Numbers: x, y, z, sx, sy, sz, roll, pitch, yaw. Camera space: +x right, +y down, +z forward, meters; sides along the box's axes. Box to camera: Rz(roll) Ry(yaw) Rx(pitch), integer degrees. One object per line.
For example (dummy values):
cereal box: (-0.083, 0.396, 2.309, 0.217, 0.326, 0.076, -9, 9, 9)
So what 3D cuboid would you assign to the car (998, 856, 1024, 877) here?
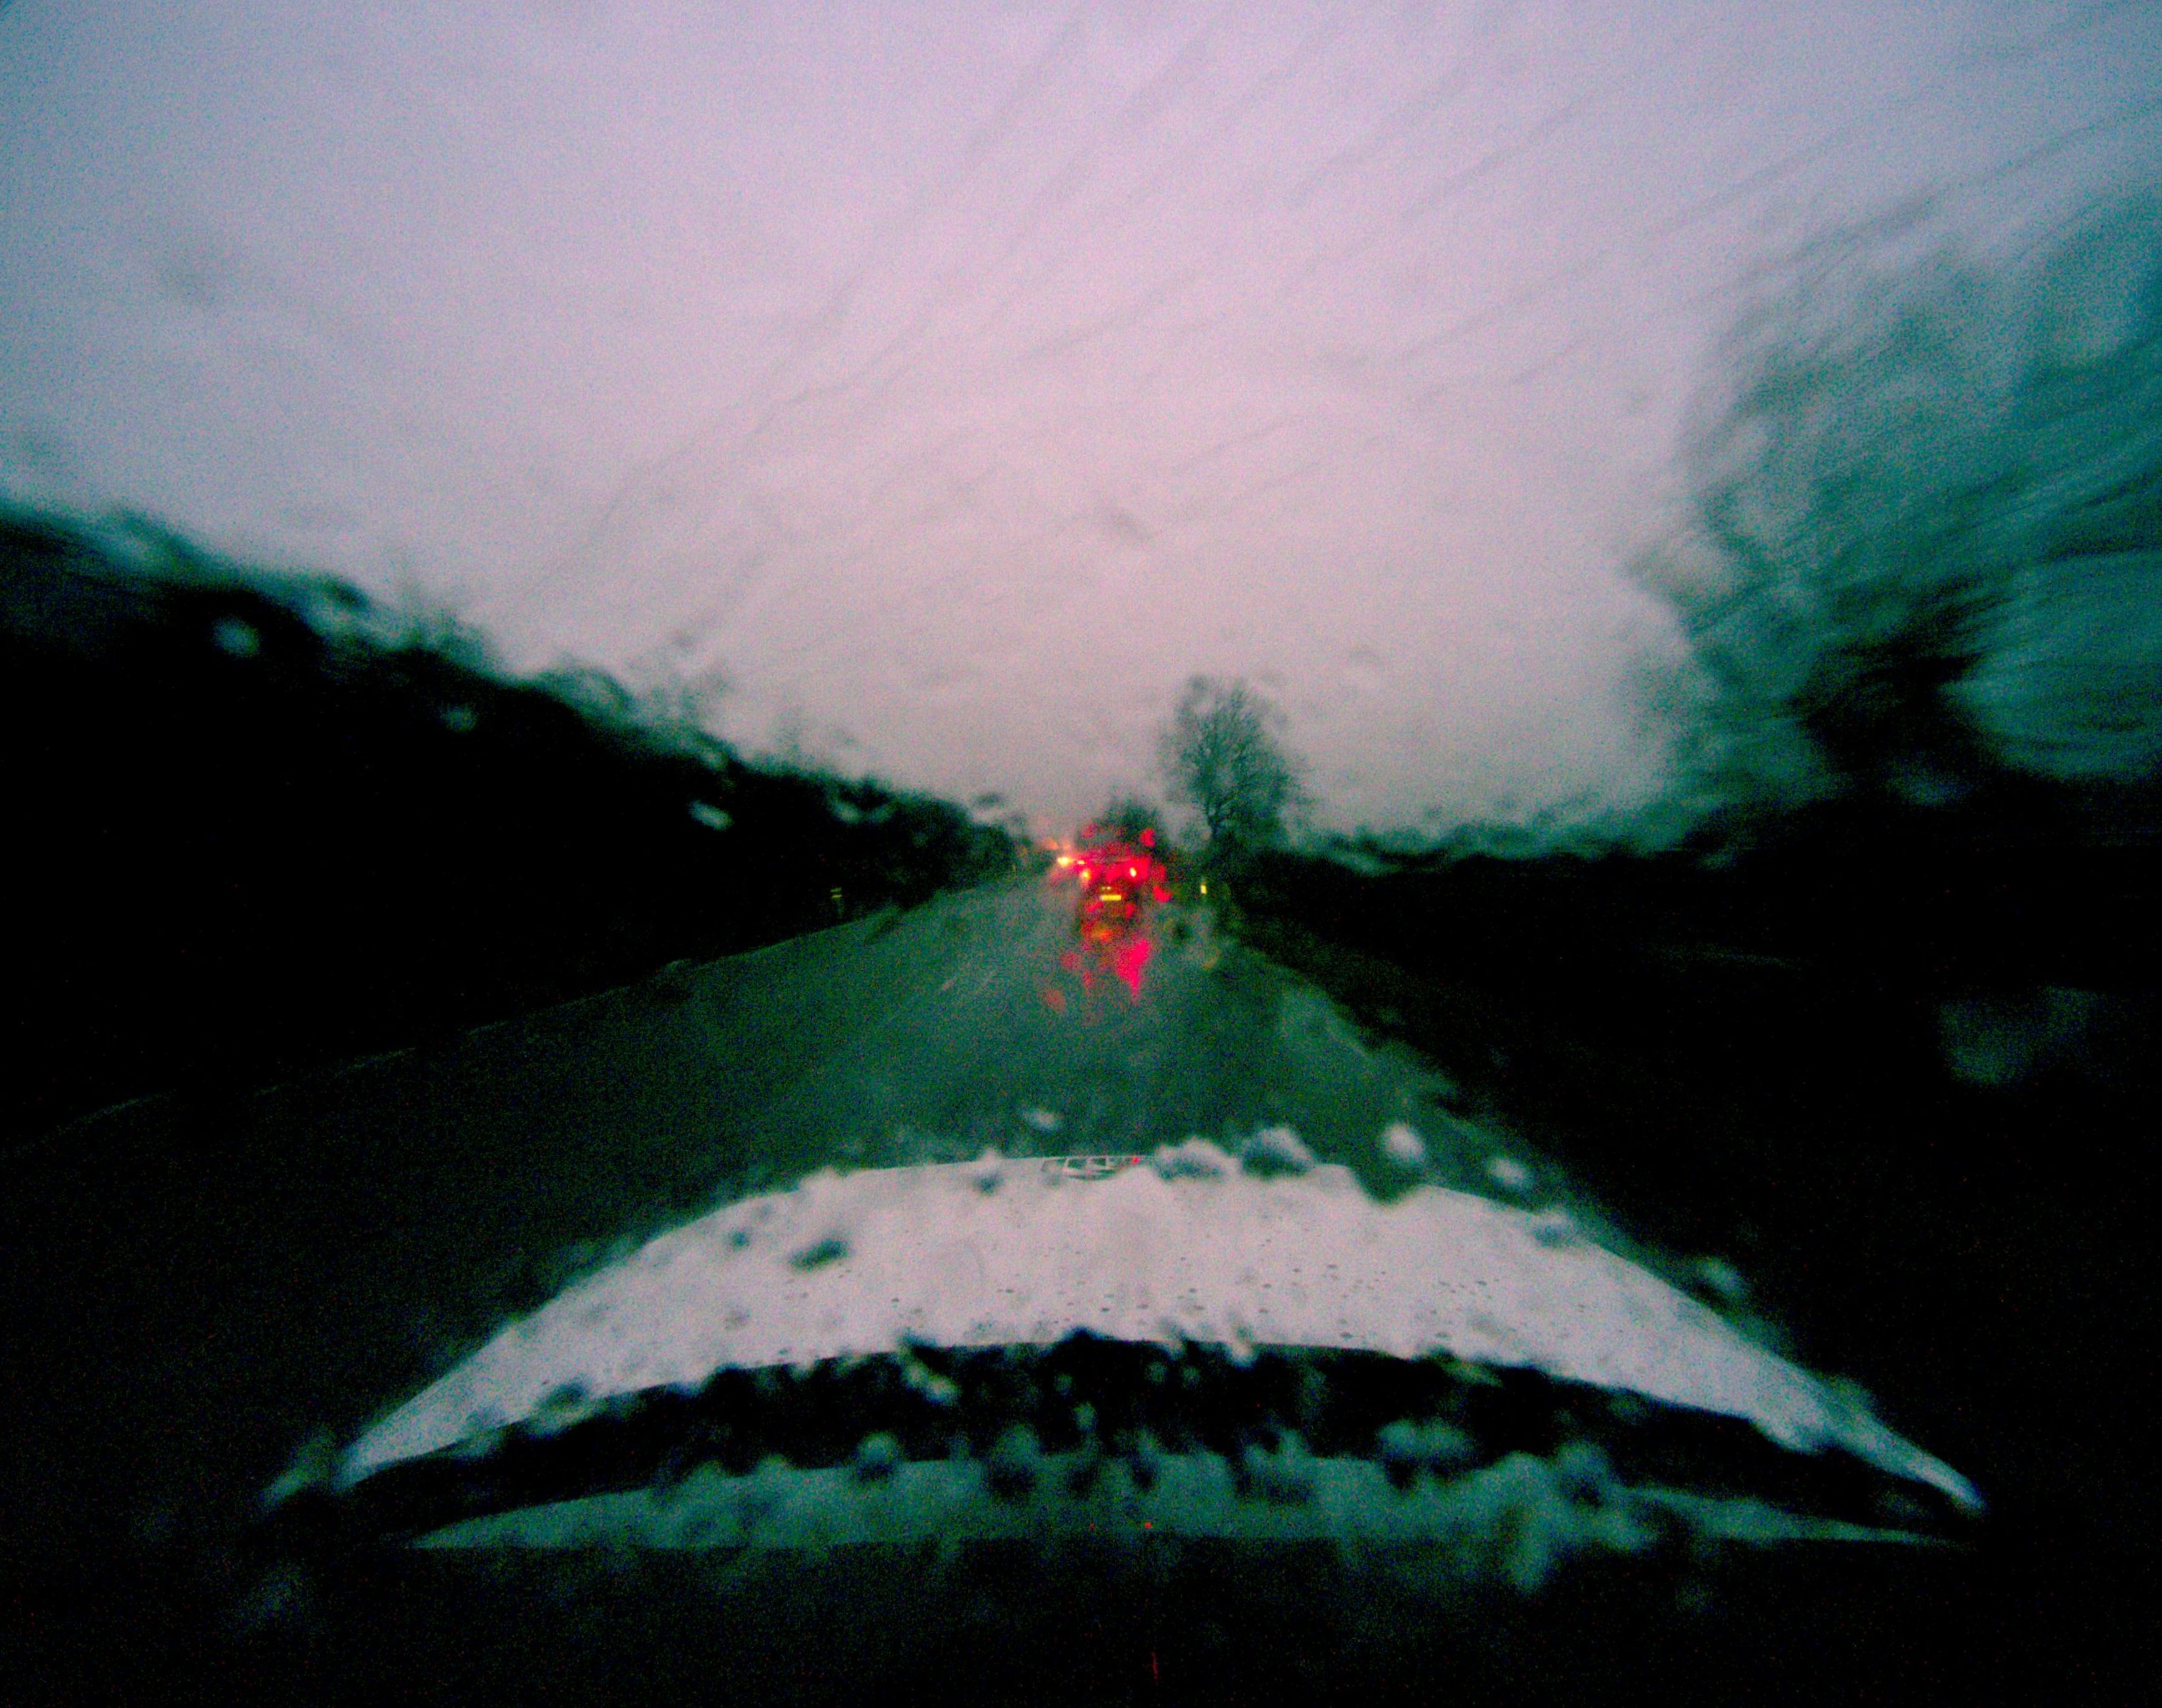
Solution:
car: (-6.178, 1.064, 72.230, 1.987, 1.785, 4.000, 0, -1, 0)

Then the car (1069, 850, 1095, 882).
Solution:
car: (0.052, 0.731, 50.576, 1.569, 1.875, 3.708, 0, -1, 0)

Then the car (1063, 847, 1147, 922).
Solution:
car: (0.578, 0.735, 21.346, 1.987, 1.785, 4.000, 0, -1, 0)

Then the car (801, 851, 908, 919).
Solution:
car: (-6.013, 0.792, 22.076, 1.770, 1.609, 3.773, -2, -1, 0)
